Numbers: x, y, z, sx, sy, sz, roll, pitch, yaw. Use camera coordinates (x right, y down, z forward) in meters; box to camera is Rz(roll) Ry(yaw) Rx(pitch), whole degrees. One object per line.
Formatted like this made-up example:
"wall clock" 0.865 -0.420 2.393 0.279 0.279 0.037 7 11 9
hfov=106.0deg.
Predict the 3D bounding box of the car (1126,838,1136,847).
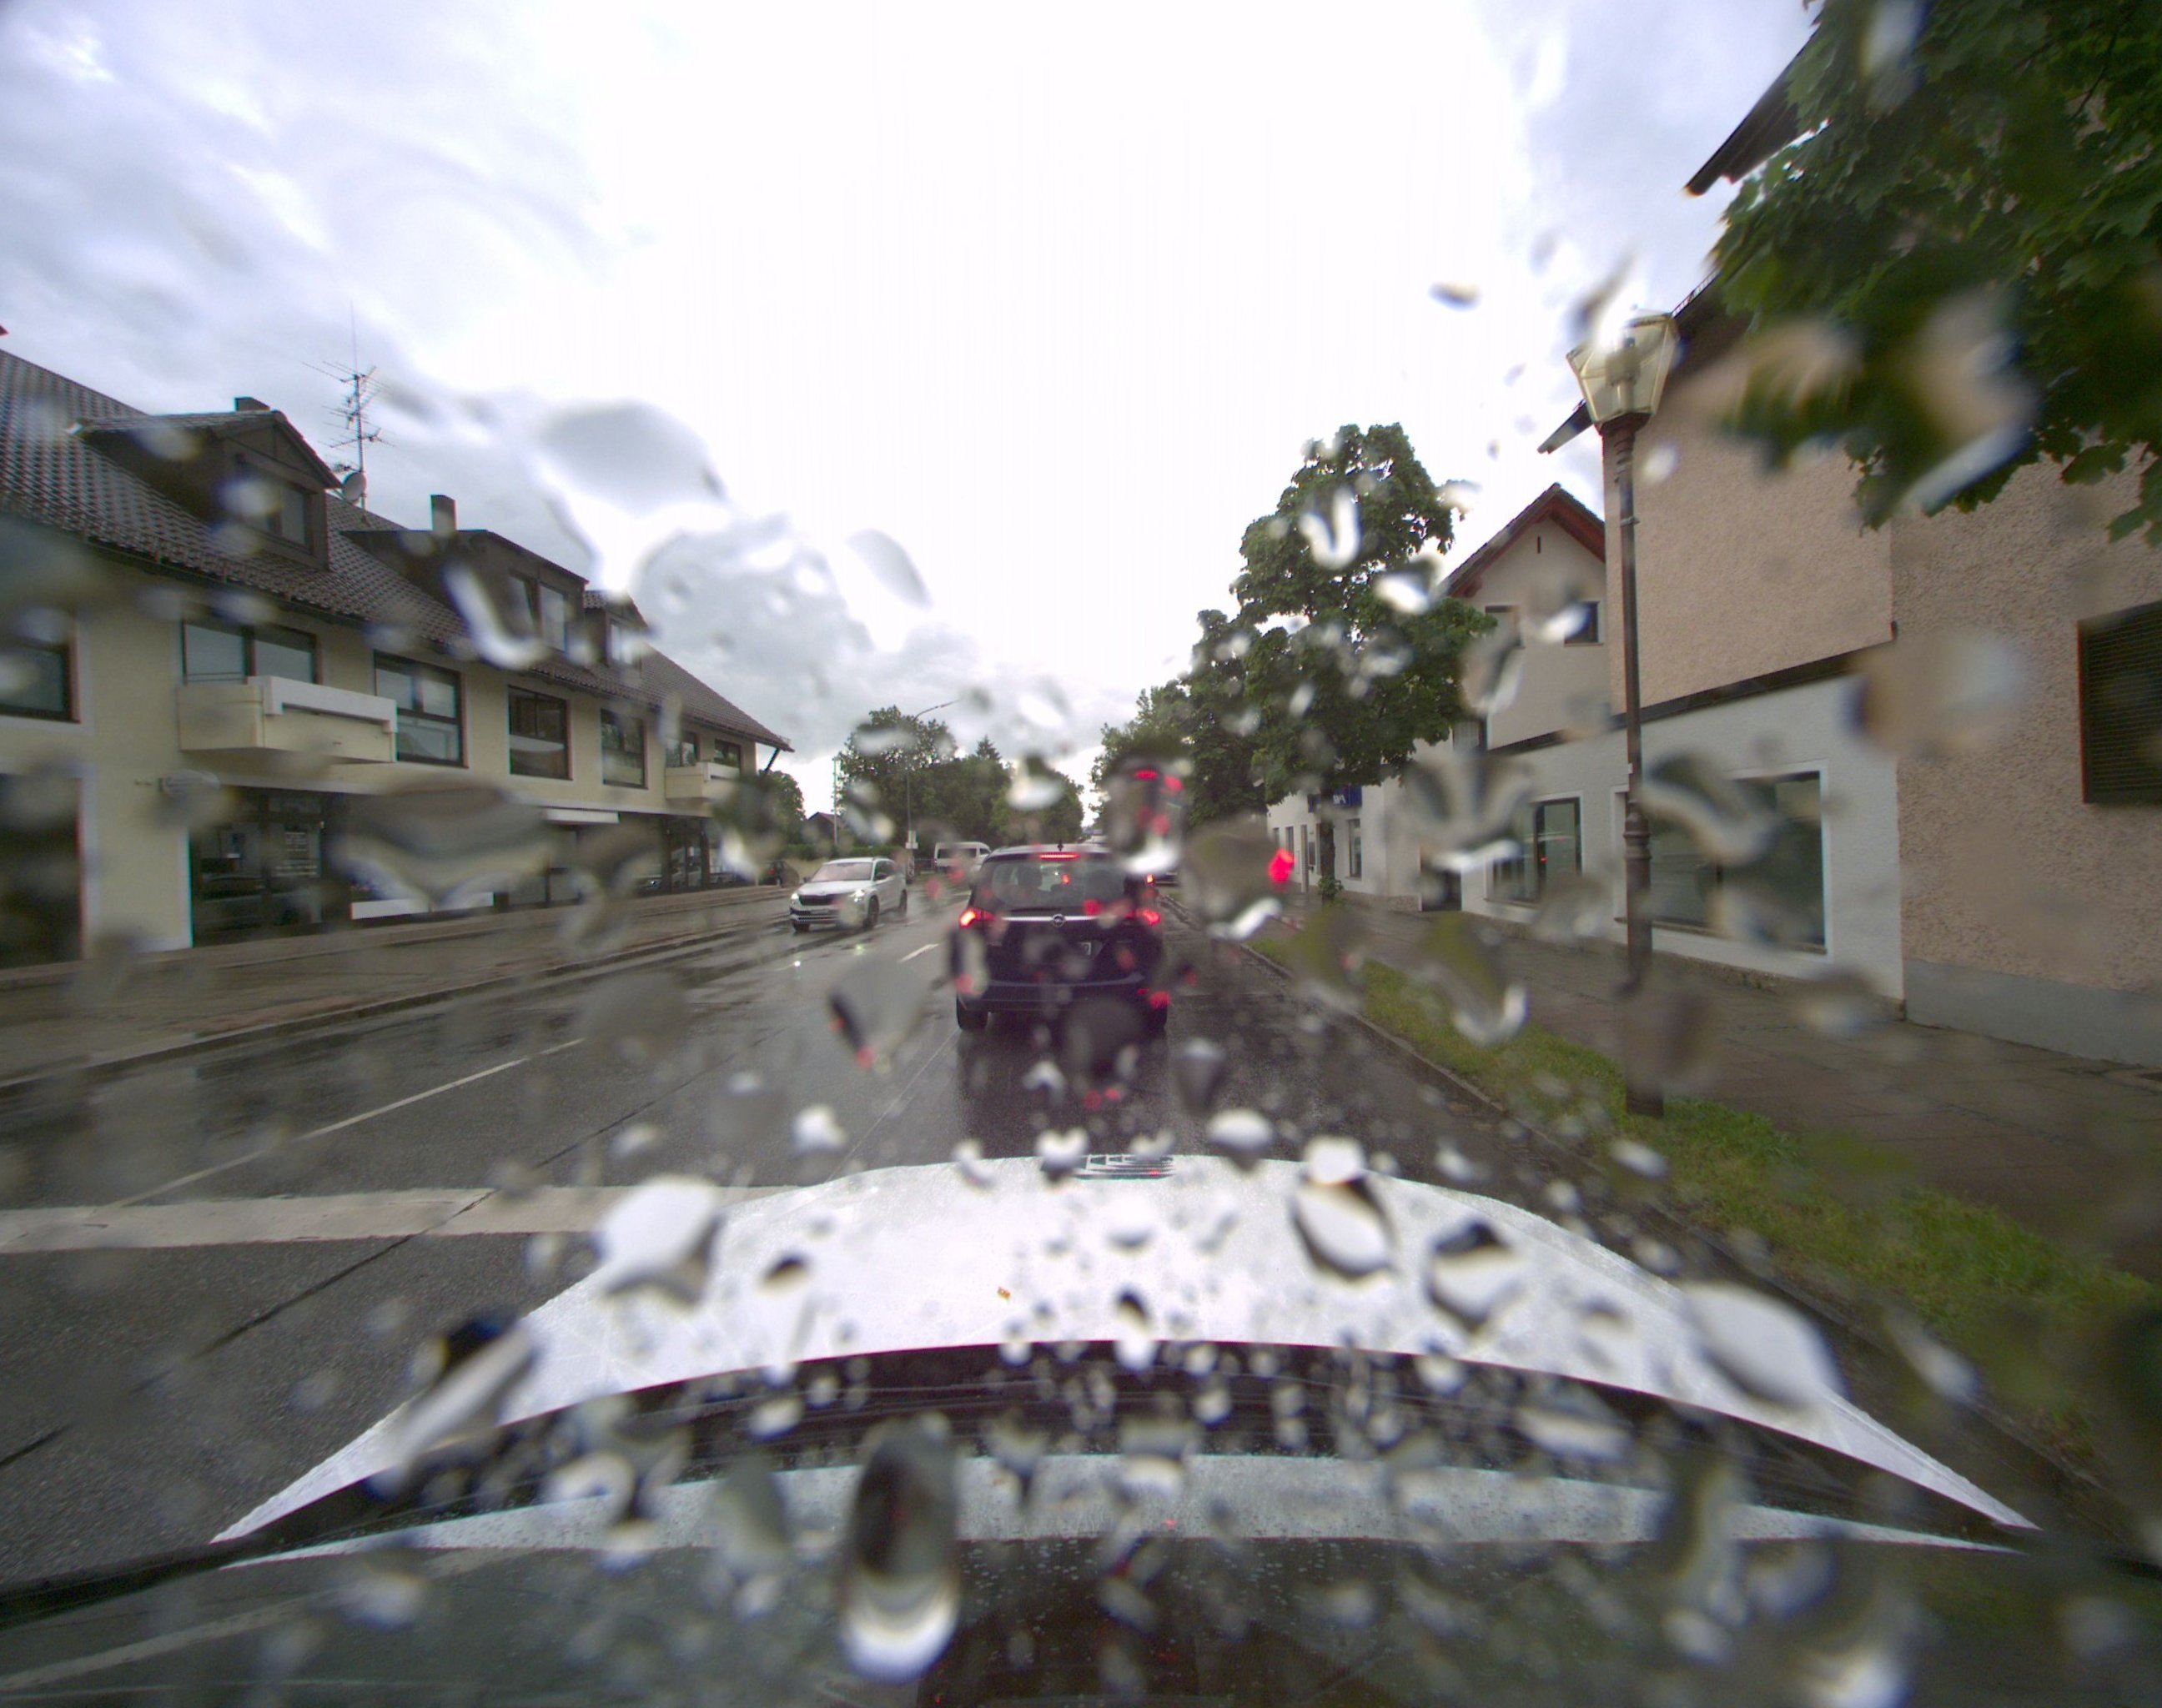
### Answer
"car" 8.364 -1.886 136.329 1.624 1.378 3.624 -2 0 2

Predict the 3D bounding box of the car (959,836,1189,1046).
"car" 0.004 0.674 8.119 1.762 1.604 3.665 -1 0 2

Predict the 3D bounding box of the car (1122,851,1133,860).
"car" 7.231 0.244 126.963 1.624 1.378 3.624 0 -1 2

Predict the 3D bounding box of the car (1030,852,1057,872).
"car" -3.011 0.658 66.938 1.745 1.511 4.233 -3 0 3

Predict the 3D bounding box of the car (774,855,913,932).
"car" -5.523 0.845 19.542 1.960 1.563 4.153 -3 0 2

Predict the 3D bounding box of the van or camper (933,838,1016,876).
"van or camper" -8.285 0.236 63.843 6.232 2.707 2.099 -2 0 -3

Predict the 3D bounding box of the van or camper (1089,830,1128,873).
"van or camper" 1.821 -0.153 53.959 2.351 2.665 5.374 -2 0 2

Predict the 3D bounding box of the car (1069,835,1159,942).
"car" 0.597 0.574 15.150 1.494 1.776 3.113 0 0 2

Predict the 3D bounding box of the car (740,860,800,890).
"car" -16.002 1.042 42.115 1.601 1.380 3.510 -3 0 2

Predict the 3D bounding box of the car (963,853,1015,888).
"car" -4.454 0.771 39.854 1.920 1.566 4.127 -2 0 1

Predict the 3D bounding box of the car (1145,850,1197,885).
"car" 4.164 0.603 38.236 2.110 1.581 3.936 0 0 1
